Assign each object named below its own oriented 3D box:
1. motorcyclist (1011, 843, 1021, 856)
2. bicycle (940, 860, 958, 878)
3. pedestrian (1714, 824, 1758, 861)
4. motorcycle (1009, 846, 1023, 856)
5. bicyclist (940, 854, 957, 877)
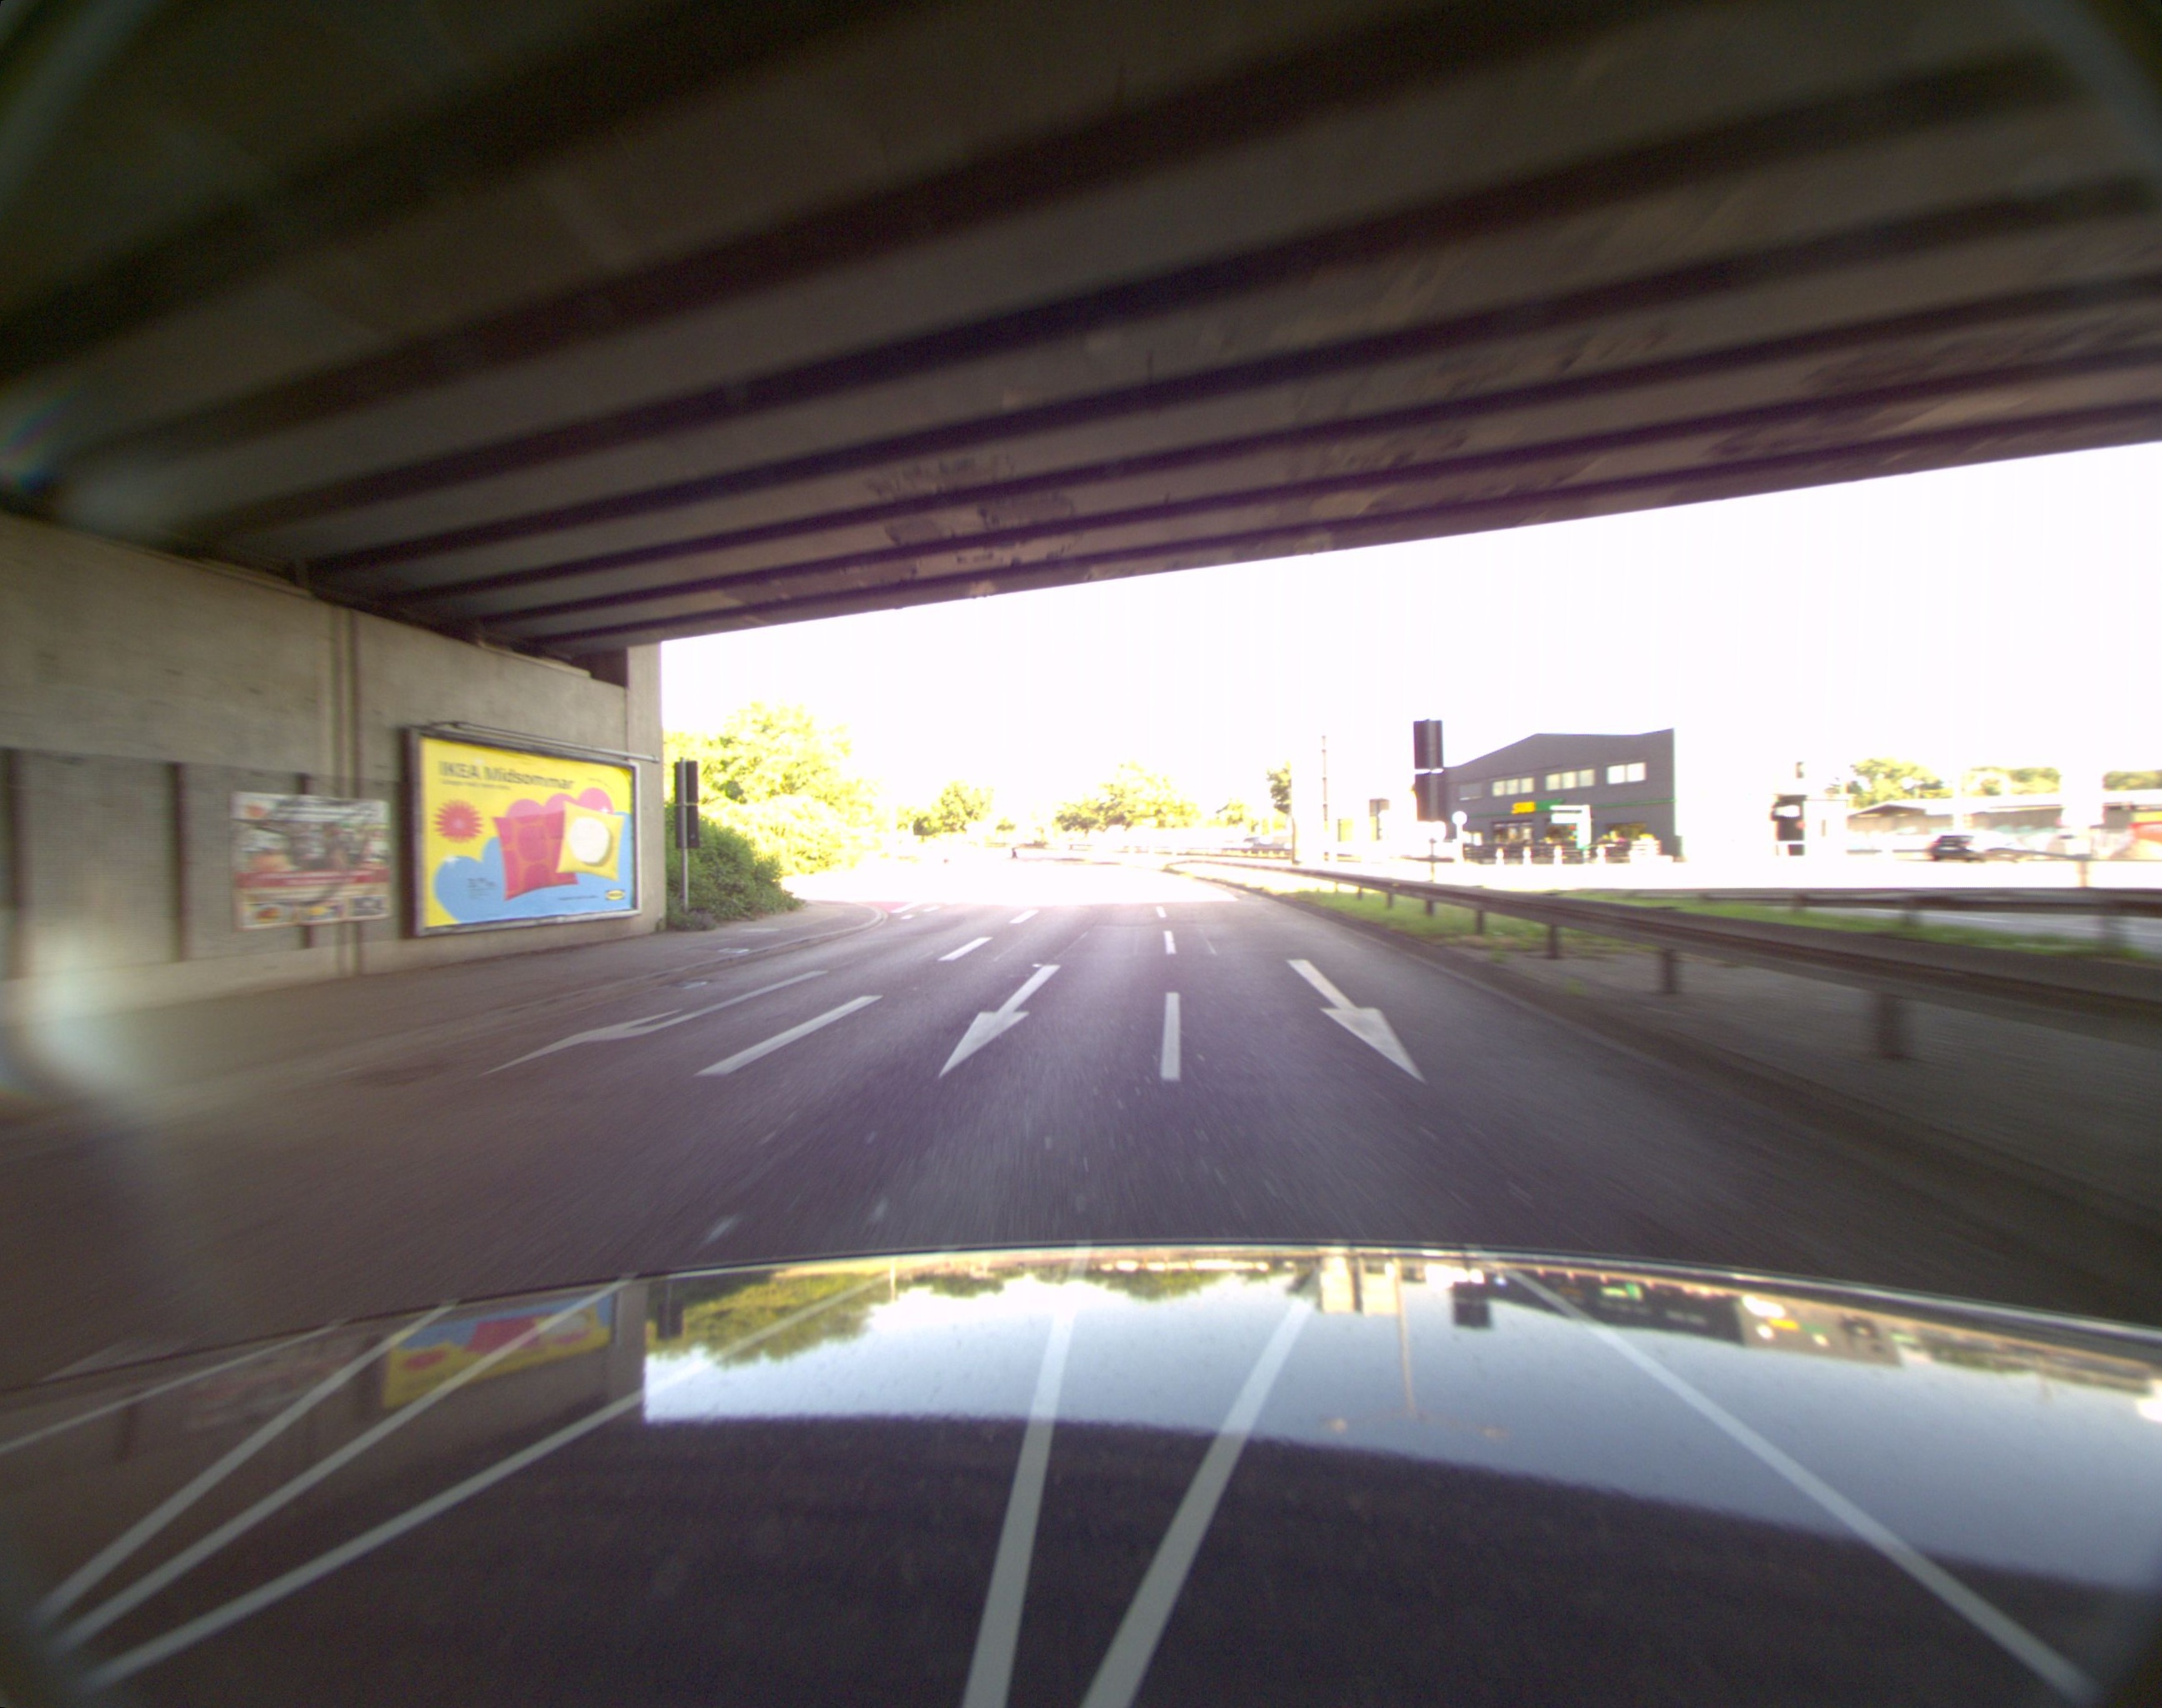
[{"bbox_3d":[-7.465,-0.569,87.363,0.839,1.433,0.879,-2,1,12],"label":"motorcyclist"},{"bbox_3d":[-8.340,0.926,48.005,0.783,1.051,2.493,-3,1,-17],"label":"bicycle"},{"bbox_3d":[33.918,-0.607,39.358,1.274,1.825,1.085,-3,1,6],"label":"pedestrian"},{"bbox_3d":[-7.463,-0.381,87.319,0.810,1.040,2.355,-2,1,12],"label":"motorcycle"},{"bbox_3d":[-8.396,0.739,48.092,0.844,1.413,1.112,-3,1,-16],"label":"bicyclist"}]
